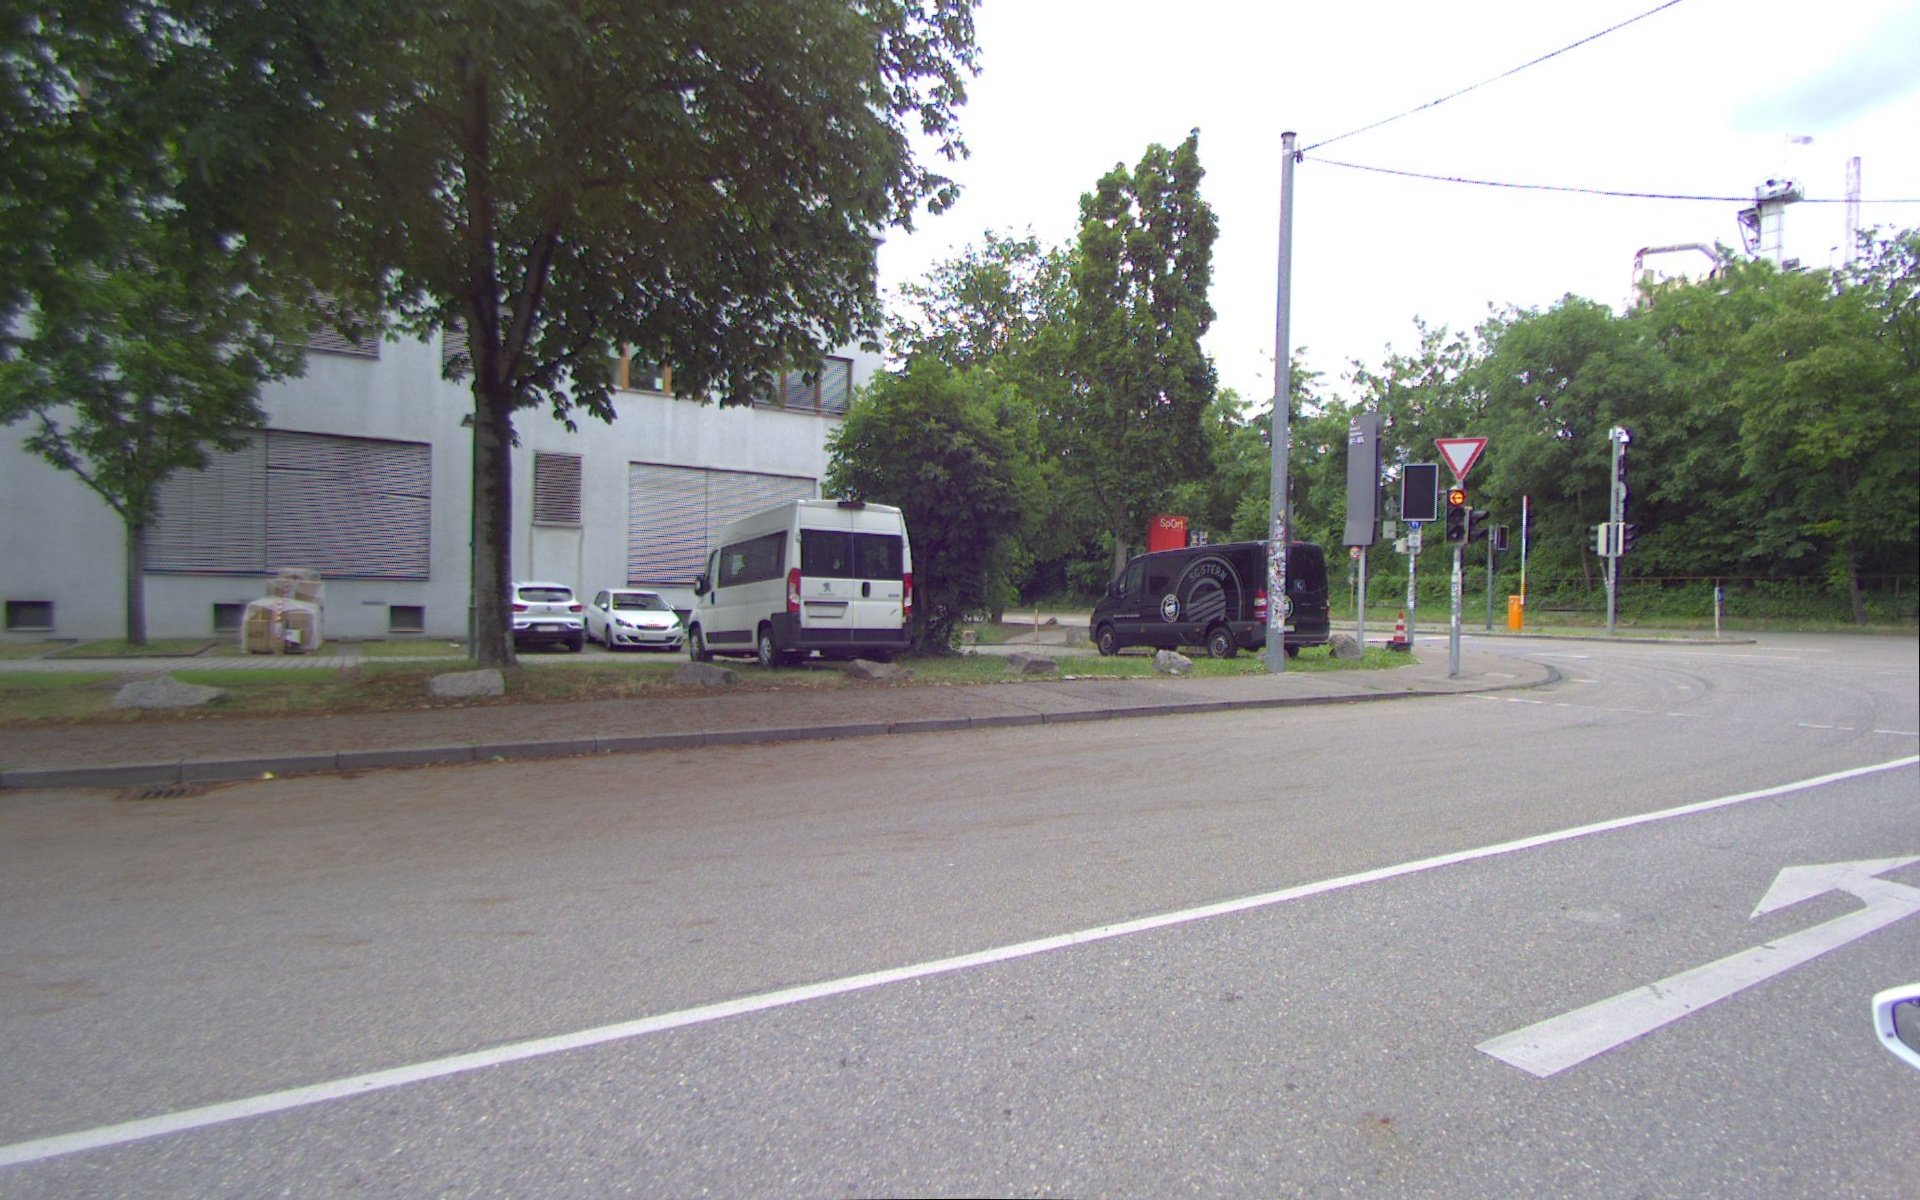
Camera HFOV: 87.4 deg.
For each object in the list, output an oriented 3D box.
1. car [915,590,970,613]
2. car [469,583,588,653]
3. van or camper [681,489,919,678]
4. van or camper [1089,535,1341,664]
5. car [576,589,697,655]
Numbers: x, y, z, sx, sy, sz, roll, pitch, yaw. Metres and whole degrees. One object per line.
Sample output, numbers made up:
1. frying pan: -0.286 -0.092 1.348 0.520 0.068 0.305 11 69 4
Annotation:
1. car: -1.383 0.097 75.798 1.881 1.475 4.644 3 0 -34
2. car: -10.416 0.391 24.080 1.881 1.475 3.972 3 0 -34
3. van or camper: -2.810 -0.244 16.516 2.039 2.604 4.943 3 0 -32
4. van or camper: 5.187 0.086 21.373 2.036 2.344 5.513 3 -3 -28
5. car: -8.361 0.526 25.765 1.881 1.475 3.972 3 0 -34
